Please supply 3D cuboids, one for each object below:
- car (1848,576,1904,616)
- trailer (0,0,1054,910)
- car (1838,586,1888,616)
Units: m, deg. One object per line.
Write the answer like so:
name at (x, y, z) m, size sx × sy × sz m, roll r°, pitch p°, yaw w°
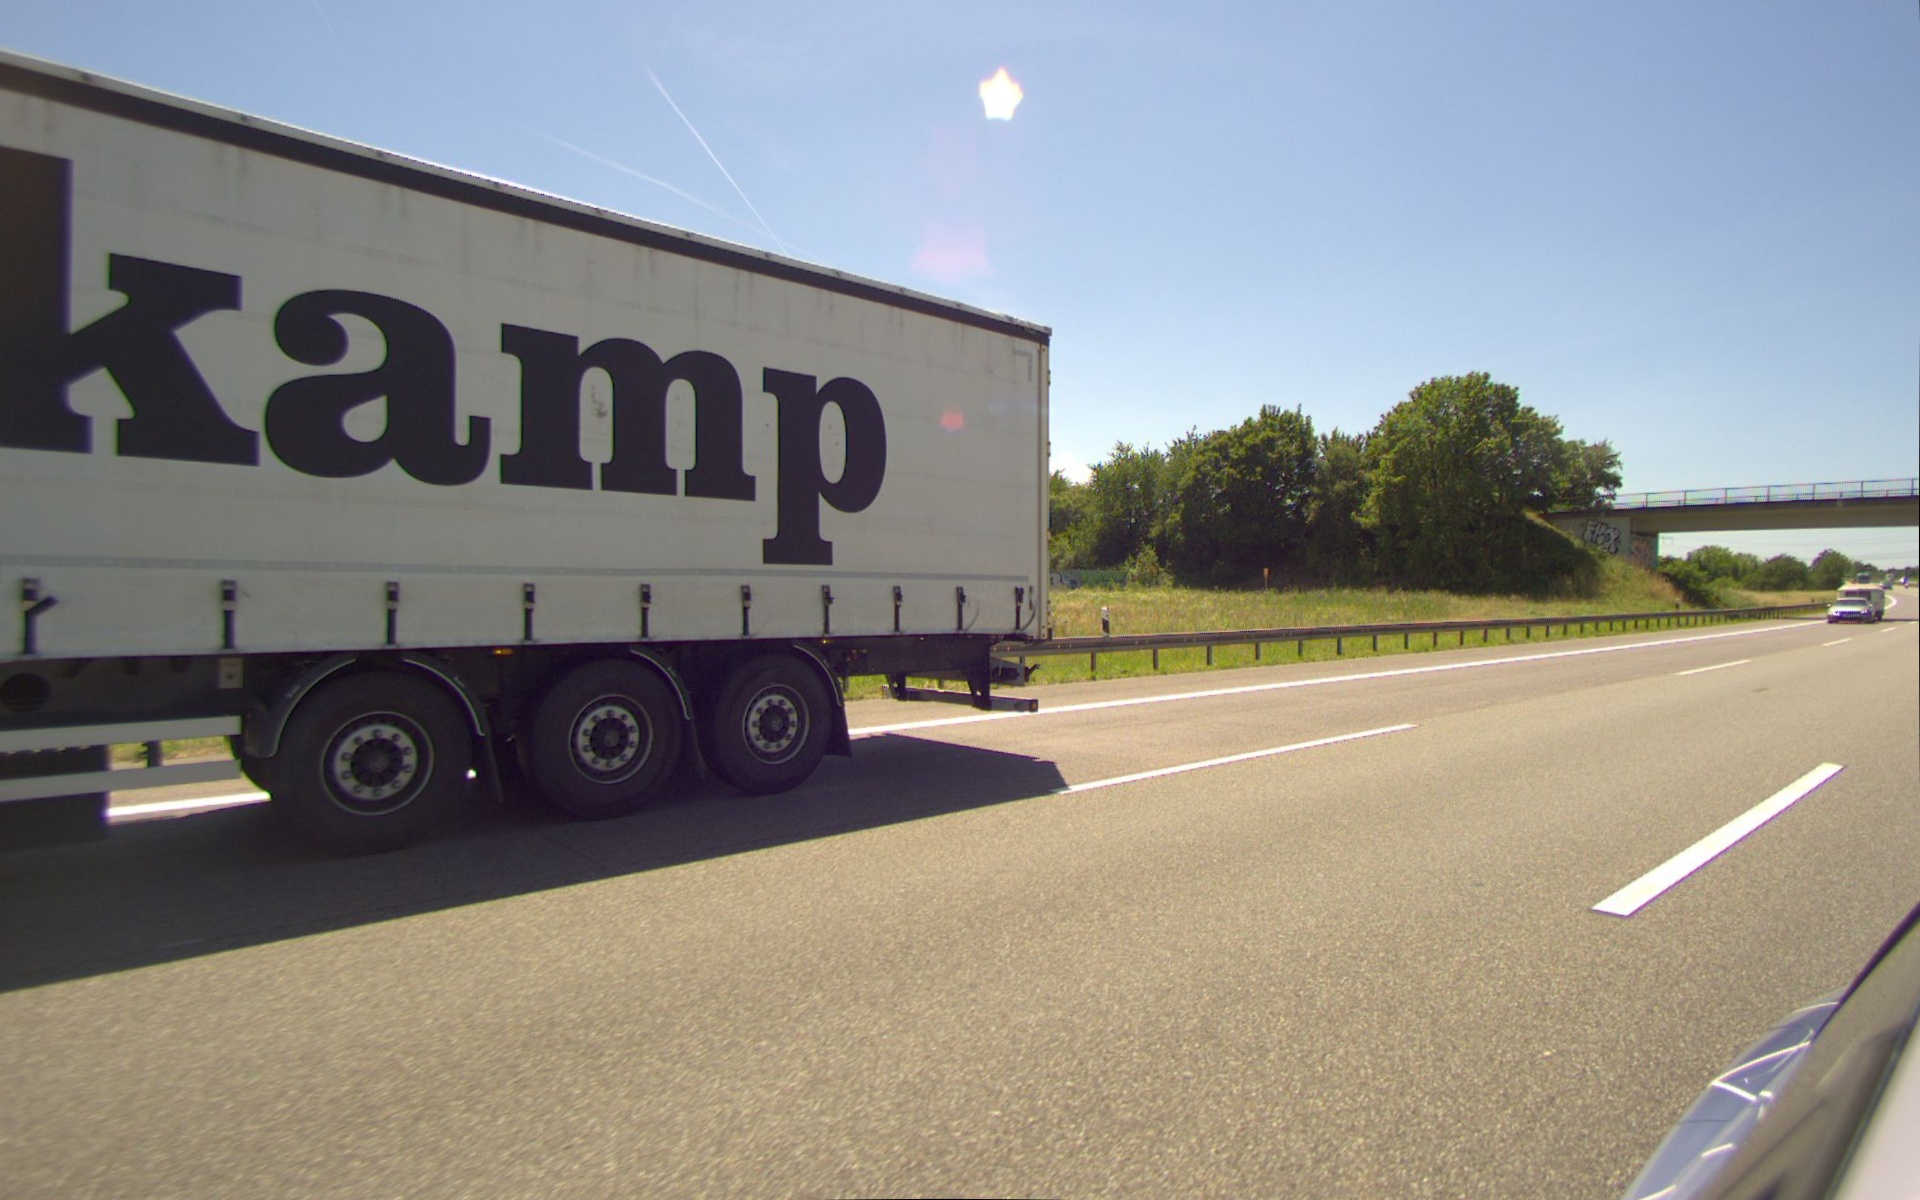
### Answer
car at (54.394, -0.281, 60.044) m, size 4.871 × 2.294 × 2.184 m, roll -1°, pitch 2°, yaw -45°
trailer at (-5.010, -0.733, 5.910) m, size 13.406 × 4.305 × 2.599 m, roll -1°, pitch 1°, yaw -42°
car at (49.677, 0.021, 55.650) m, size 3.935 × 1.494 × 1.781 m, roll -1°, pitch 2°, yaw -45°
